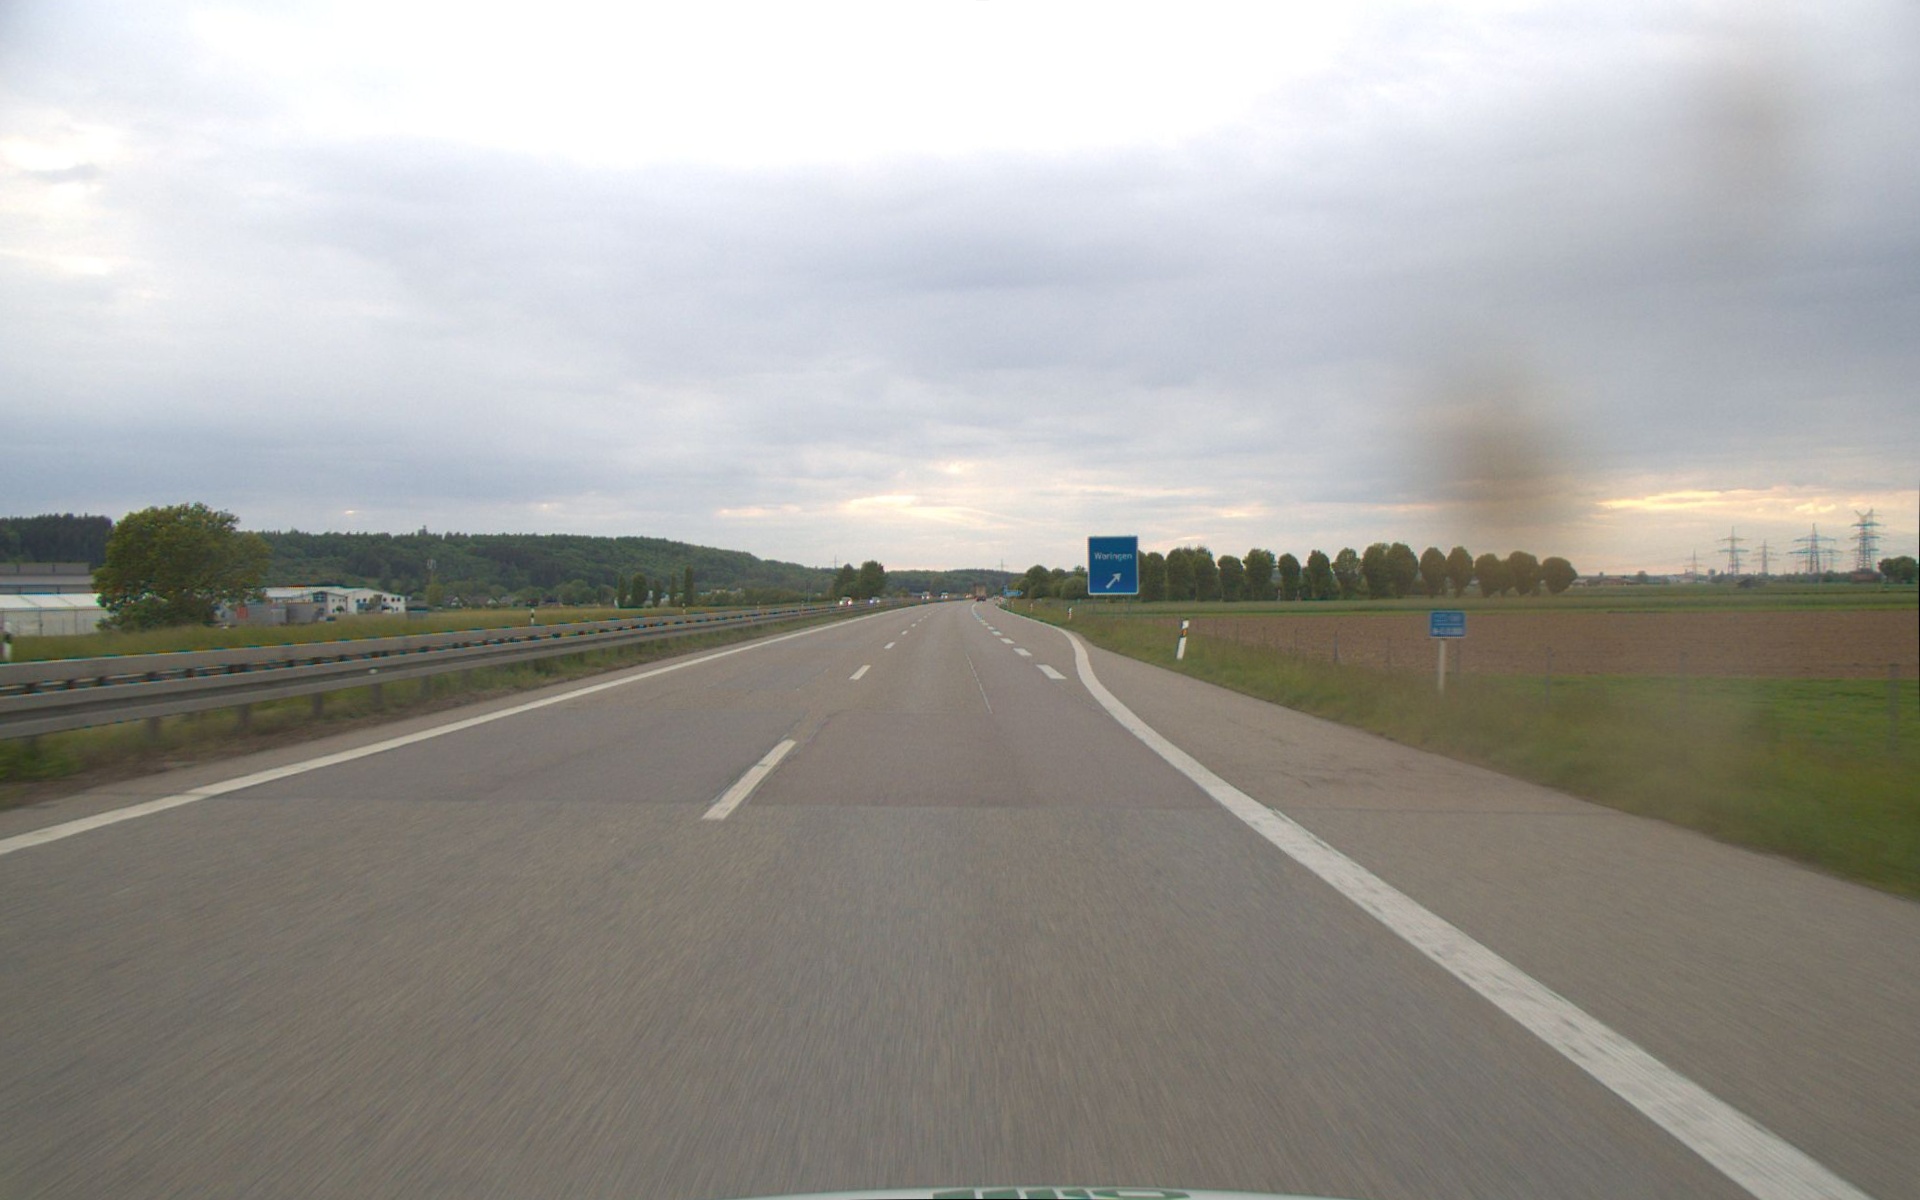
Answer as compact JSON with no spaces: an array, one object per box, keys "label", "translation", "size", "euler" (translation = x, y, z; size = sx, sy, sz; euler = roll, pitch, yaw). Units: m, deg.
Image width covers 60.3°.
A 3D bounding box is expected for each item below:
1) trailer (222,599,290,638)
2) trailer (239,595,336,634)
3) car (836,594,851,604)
[{"label":"trailer","translation":[-102.042,2.685,239.649],"size":[9.859,5.353,3.748],"euler":[-2,-1,29]},{"label":"trailer","translation":[-98.786,2.197,242.755],"size":[16.657,5.225,3.563],"euler":[-2,-1,29]},{"label":"car","translation":[-17.464,-0.124,248.008],"size":[1.953,1.506,4.451],"euler":[1,0,0]}]
